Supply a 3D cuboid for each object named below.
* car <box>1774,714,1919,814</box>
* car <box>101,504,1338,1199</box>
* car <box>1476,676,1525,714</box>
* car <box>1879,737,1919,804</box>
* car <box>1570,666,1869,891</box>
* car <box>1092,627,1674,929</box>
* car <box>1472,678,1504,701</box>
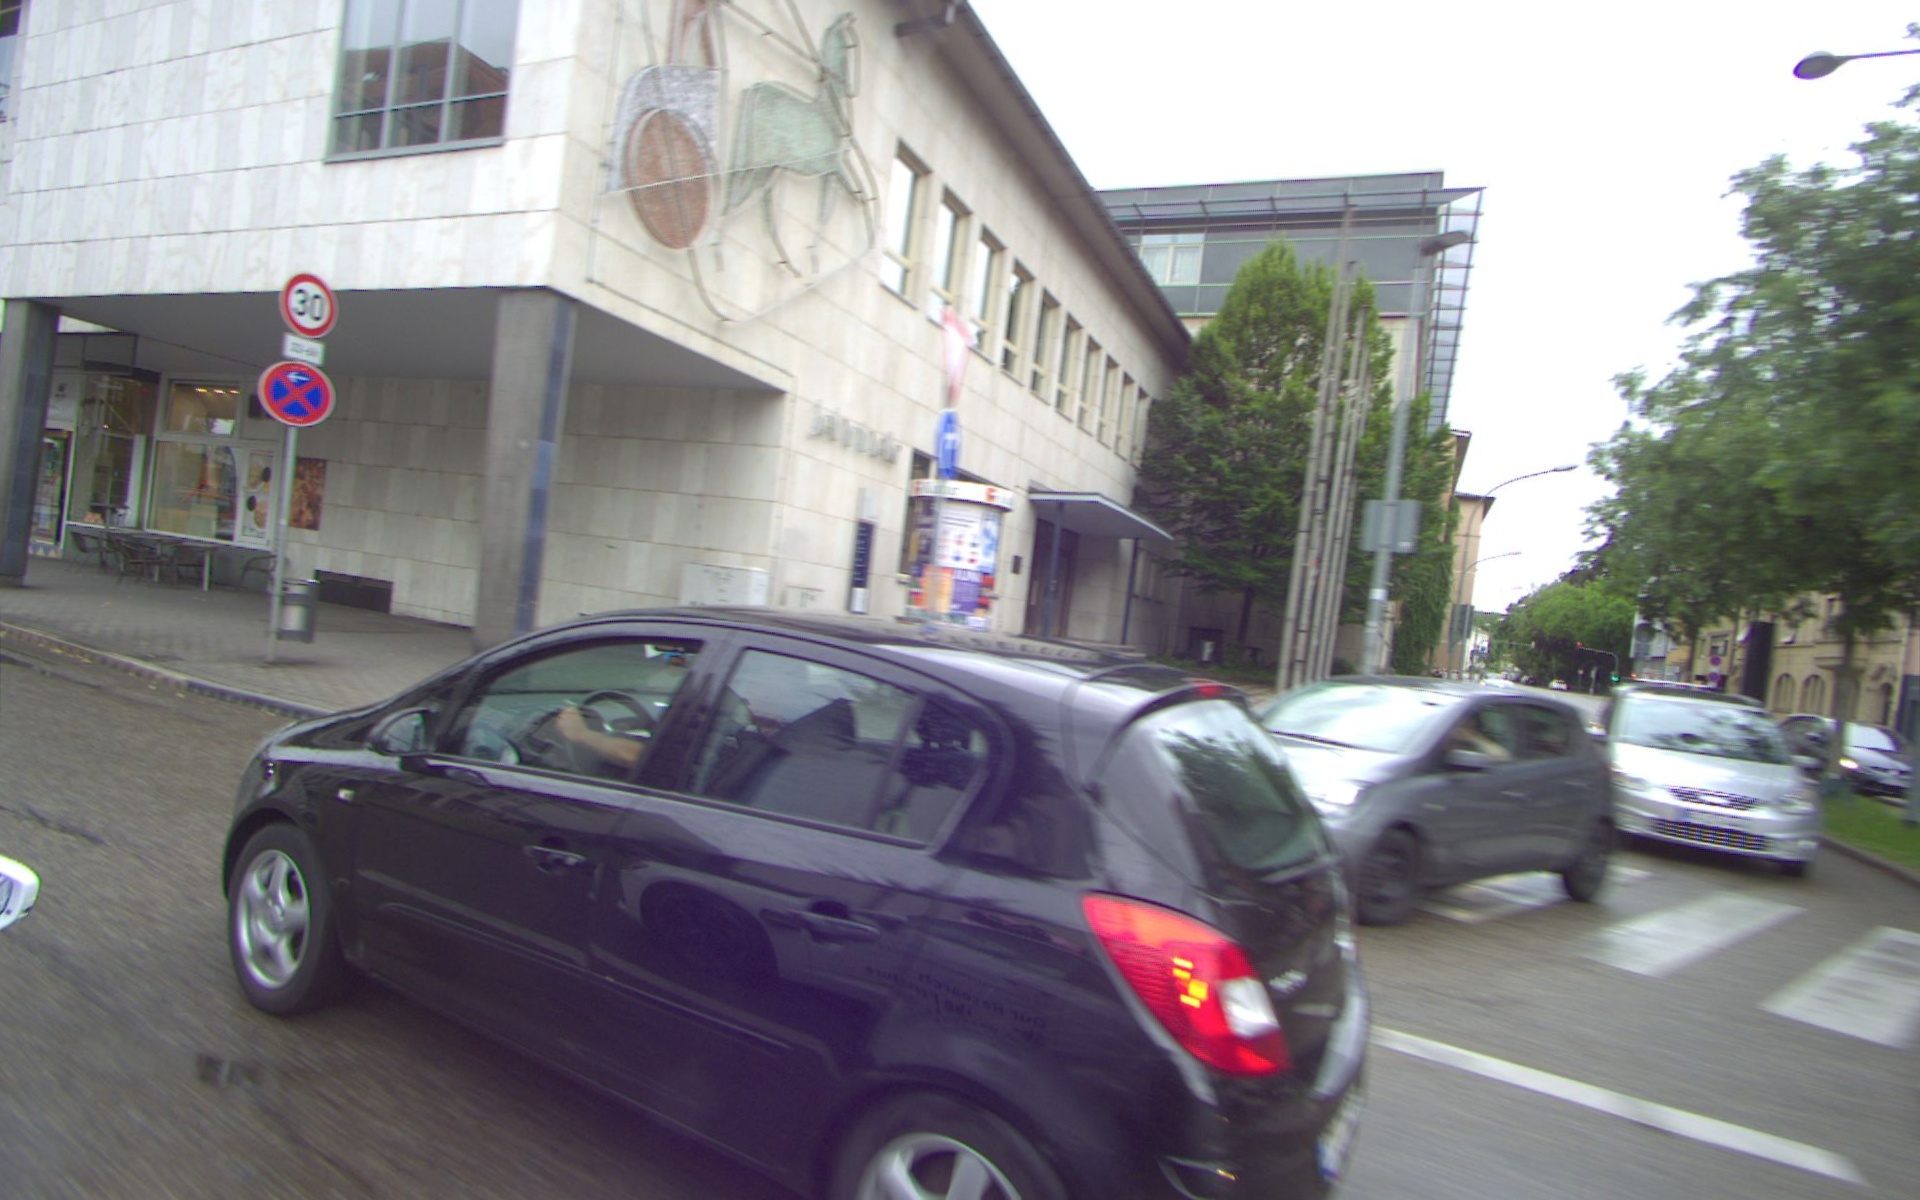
[{"bbox_3d":[19.831,3.558,22.159,1.853,1.615,3.997,7,0,25],"label":"car"},{"bbox_3d":[-0.874,0.688,3.361,3.677,1.474,1.713,7,-2,28],"label":"car"},{"bbox_3d":[26.450,4.608,49.328,1.770,1.487,3.997,7,0,25],"label":"car"},{"bbox_3d":[23.616,4.128,23.630,1.776,1.568,4.003,5,-4,25],"label":"car"},{"bbox_3d":[8.220,1.764,11.376,1.824,1.781,4.603,6,-1,28],"label":"car"},{"bbox_3d":[3.168,1.225,7.329,3.964,1.494,1.982,9,-2,-34],"label":"car"},{"bbox_3d":[41.795,7.112,79.675,1.770,1.486,4.002,7,-2,24],"label":"car"}]
